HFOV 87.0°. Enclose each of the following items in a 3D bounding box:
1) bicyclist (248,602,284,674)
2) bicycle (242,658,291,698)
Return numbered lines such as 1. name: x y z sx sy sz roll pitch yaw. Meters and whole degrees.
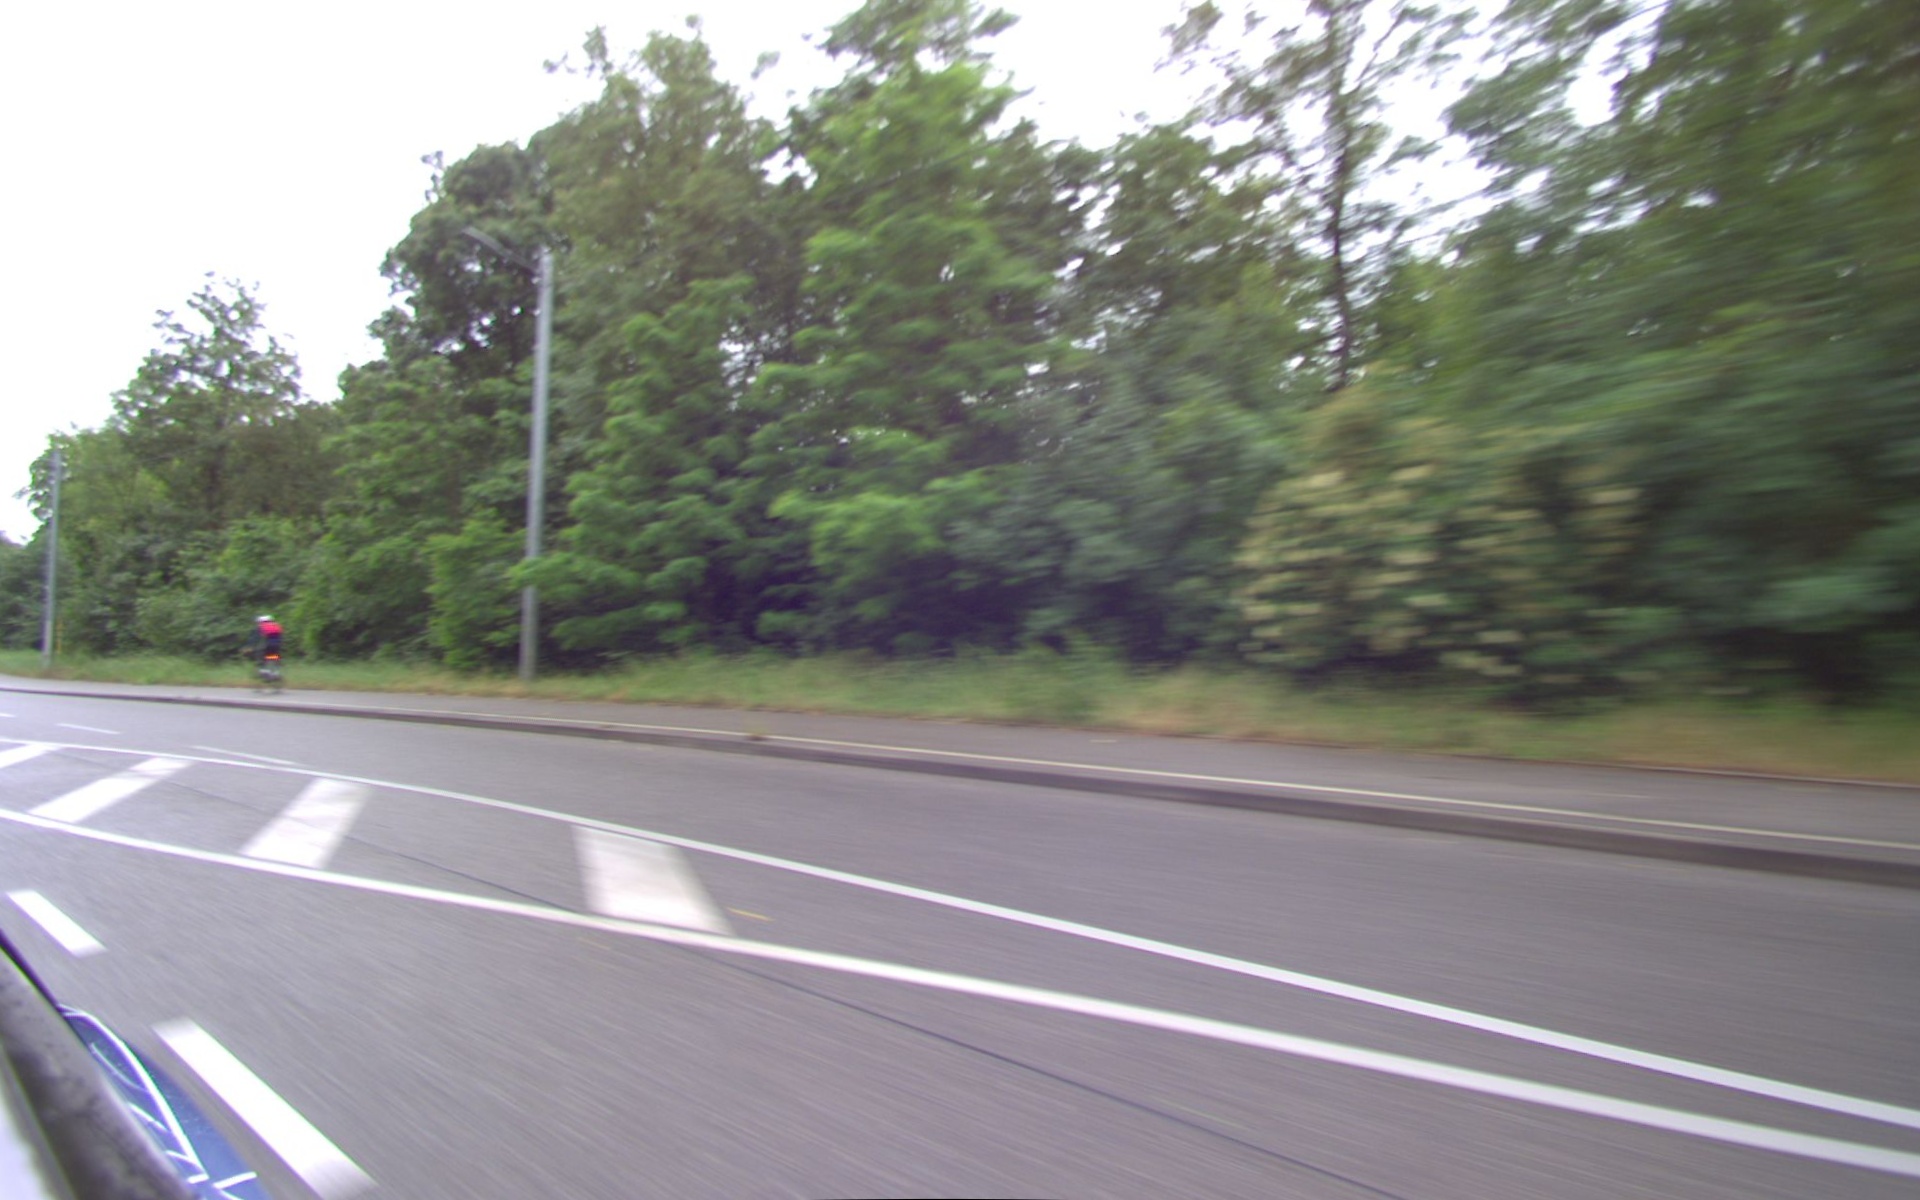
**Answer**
1. bicyclist: -15.658 0.858 22.828 1.297 1.586 0.332 -2 -2 39
2. bicycle: -15.637 1.738 22.793 2.091 0.855 0.352 -3 -2 40
